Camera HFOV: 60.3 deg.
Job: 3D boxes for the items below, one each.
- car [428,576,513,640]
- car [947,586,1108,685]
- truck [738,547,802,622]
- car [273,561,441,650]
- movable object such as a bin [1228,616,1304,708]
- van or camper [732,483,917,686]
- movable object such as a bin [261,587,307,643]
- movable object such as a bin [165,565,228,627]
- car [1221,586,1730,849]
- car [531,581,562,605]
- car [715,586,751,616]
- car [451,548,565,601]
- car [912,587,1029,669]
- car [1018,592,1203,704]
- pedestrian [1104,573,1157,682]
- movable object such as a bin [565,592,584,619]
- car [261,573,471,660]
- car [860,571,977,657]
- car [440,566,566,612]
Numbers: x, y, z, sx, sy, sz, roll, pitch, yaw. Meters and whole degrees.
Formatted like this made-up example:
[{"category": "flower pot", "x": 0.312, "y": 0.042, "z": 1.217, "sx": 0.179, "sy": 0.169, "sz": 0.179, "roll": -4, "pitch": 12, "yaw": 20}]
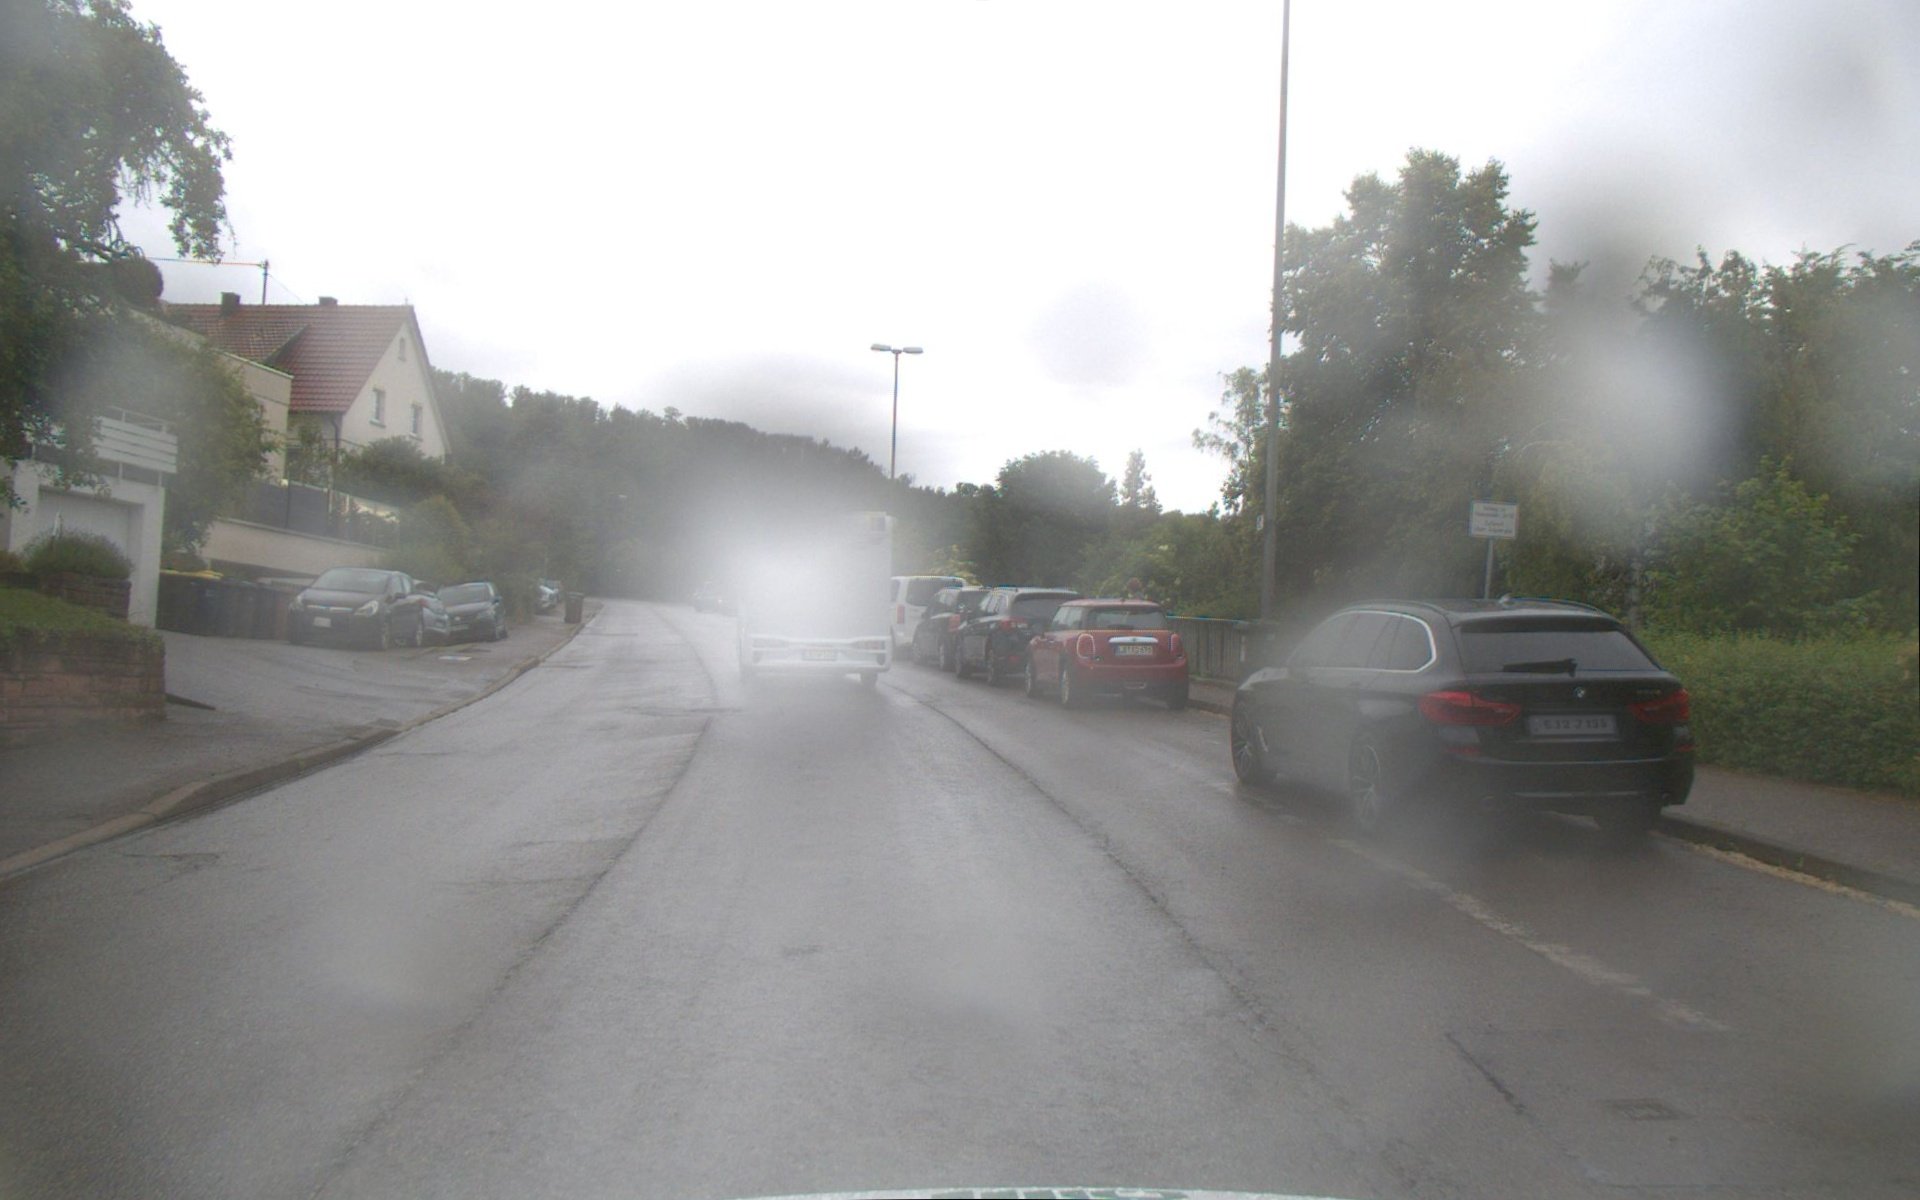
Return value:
[{"category": "car", "x": -13.131, "y": 0.206, "z": 44.566, "sx": 1.771, "sy": 1.625, "sz": 4.405, "roll": 1, "pitch": 0, "yaw": -11}, {"category": "car", "x": 1.053, "y": 0.568, "z": 28.340, "sx": 1.783, "sy": 1.533, "sz": 4.712, "roll": 1, "pitch": 0, "yaw": -10}, {"category": "truck", "x": -9.192, "y": -0.691, "z": 79.317, "sx": 2.393, "sy": 3.394, "sz": 7.942, "roll": 1, "pitch": 0, "yaw": -11}, {"category": "car", "x": -11.107, "y": 0.111, "z": 30.763, "sx": 1.731, "sy": 1.400, "sz": 4.243, "roll": 5, "pitch": -1, "yaw": -4}, {"category": "movable object such as a bin", "x": 3.835, "y": 0.766, "z": 20.783, "sx": 0.700, "sy": 1.113, "sz": 0.847, "roll": 1, "pitch": 0, "yaw": -7}, {"category": "van or camper", "x": -2.416, "y": -0.153, "z": 27.638, "sx": 2.567, "sy": 2.903, "sz": 6.018, "roll": 3, "pitch": -2, "yaw": -9}, {"category": "movable object such as a bin", "x": -13.354, "y": 0.285, "z": 32.677, "sx": 0.638, "sy": 1.097, "sz": 0.558, "roll": 0, "pitch": 0, "yaw": 9}, {"category": "movable object such as a bin", "x": -13.341, "y": -0.065, "z": 28.909, "sx": 0.734, "sy": 1.076, "sz": 0.701, "roll": 0, "pitch": 0, "yaw": 4}, {"category": "car", "x": 3.340, "y": 0.669, "z": 11.842, "sx": 1.758, "sy": 1.485, "sz": 4.783, "roll": 1, "pitch": 0, "yaw": -6}, {"category": "car", "x": -26.975, "y": -0.459, "z": 107.889, "sx": 1.604, "sy": 1.420, "sz": 4.227, "roll": 5, "pitch": -1, "yaw": -11}, {"category": "car", "x": -13.144, "y": 0.036, "z": 95.427, "sx": 1.901, "sy": 1.701, "sz": 4.684, "roll": 1, "pitch": 0, "yaw": -10}, {"category": "car", "x": -18.386, "y": -1.021, "z": 67.360, "sx": 3.972, "sy": 1.721, "sz": 1.894, "roll": 5, "pitch": -1, "yaw": 2}, {"category": "car", "x": 0.146, "y": 0.543, "z": 33.941, "sx": 1.615, "sy": 1.567, "sz": 4.343, "roll": 1, "pitch": 0, "yaw": -10}, {"category": "car", "x": 2.027, "y": 0.632, "z": 23.383, "sx": 1.703, "sy": 1.439, "sz": 3.844, "roll": 1, "pitch": 0, "yaw": -9}, {"category": "pedestrian", "x": 2.661, "y": 0.421, "z": 25.774, "sx": 0.701, "sy": 1.663, "sz": 0.708, "roll": 1, "pitch": 0, "yaw": 14}, {"category": "movable object such as a bin", "x": -14.035, "y": 0.215, "z": 60.245, "sx": 0.592, "sy": 0.944, "sz": 0.561, "roll": 3, "pitch": 0, "yaw": -16}, {"category": "car", "x": -12.744, "y": 0.353, "z": 35.623, "sx": 3.748, "sy": 1.503, "sz": 1.804, "roll": -5, "pitch": -1, "yaw": 3}, {"category": "car", "x": -1.074, "y": 0.319, "z": 39.679, "sx": 1.817, "sy": 1.915, "sz": 4.893, "roll": 1, "pitch": 0, "yaw": -14}, {"category": "car", "x": -20.411, "y": -0.480, "z": 74.050, "sx": 4.977, "sy": 1.978, "sz": 2.143, "roll": 1, "pitch": 0, "yaw": 5}]
